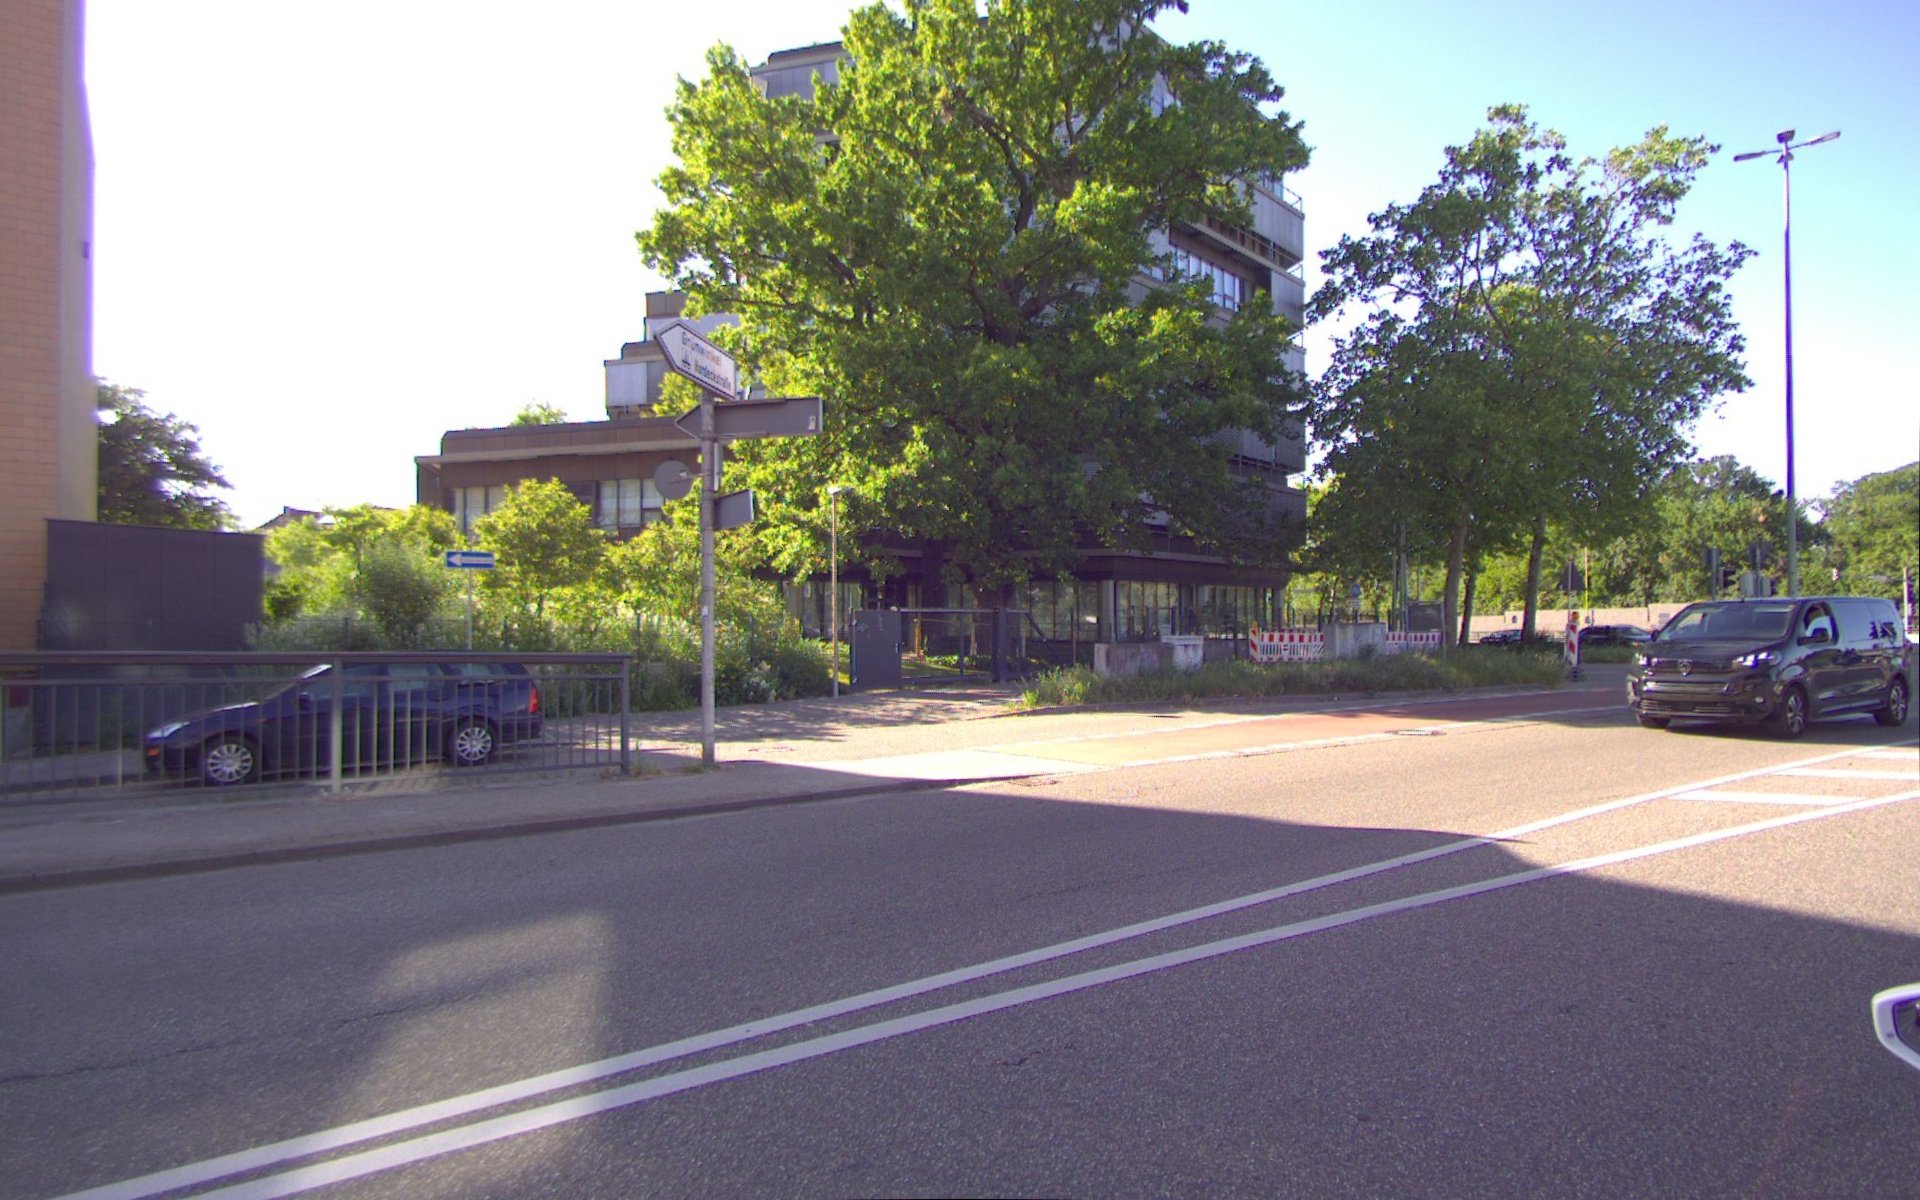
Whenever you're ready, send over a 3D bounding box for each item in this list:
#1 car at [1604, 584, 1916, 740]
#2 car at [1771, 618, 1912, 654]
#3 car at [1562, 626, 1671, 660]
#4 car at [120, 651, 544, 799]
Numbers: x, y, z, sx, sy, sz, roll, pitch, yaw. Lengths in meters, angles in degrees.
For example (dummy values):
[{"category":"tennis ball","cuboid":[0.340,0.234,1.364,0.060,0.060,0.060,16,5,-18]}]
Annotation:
[{"category":"car","cuboid":[11.823,0.827,14.774,4.794,1.961,1.984,0,-2,-30]},{"category":"car","cuboid":[38.132,1.554,43.609,1.794,1.457,4.443,0,-2,-11]},{"category":"car","cuboid":[29.822,1.924,45.789,1.791,1.457,4.448,0,-2,-5]},{"category":"car","cuboid":[-7.933,1.467,13.046,4.408,1.523,1.808,1,-2,-36]}]
